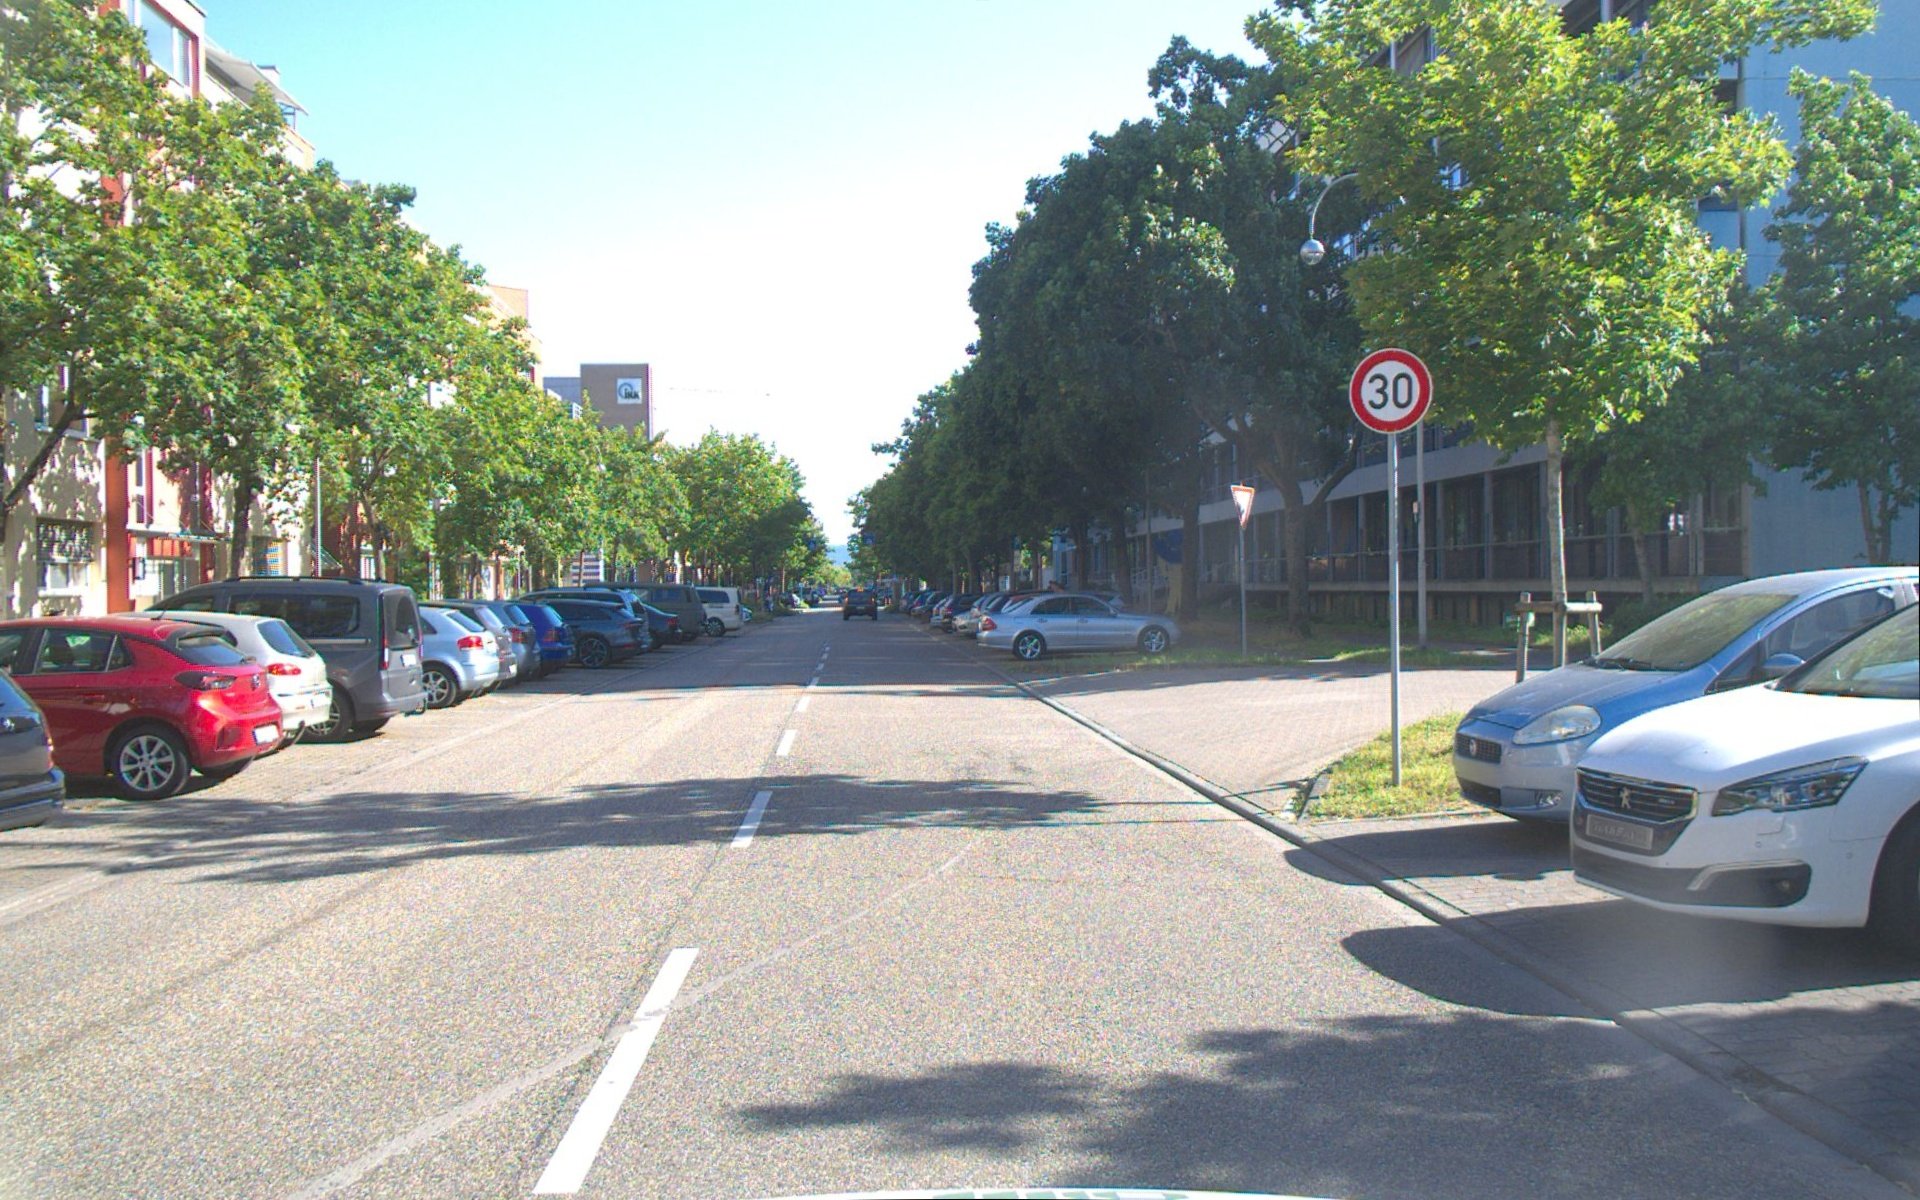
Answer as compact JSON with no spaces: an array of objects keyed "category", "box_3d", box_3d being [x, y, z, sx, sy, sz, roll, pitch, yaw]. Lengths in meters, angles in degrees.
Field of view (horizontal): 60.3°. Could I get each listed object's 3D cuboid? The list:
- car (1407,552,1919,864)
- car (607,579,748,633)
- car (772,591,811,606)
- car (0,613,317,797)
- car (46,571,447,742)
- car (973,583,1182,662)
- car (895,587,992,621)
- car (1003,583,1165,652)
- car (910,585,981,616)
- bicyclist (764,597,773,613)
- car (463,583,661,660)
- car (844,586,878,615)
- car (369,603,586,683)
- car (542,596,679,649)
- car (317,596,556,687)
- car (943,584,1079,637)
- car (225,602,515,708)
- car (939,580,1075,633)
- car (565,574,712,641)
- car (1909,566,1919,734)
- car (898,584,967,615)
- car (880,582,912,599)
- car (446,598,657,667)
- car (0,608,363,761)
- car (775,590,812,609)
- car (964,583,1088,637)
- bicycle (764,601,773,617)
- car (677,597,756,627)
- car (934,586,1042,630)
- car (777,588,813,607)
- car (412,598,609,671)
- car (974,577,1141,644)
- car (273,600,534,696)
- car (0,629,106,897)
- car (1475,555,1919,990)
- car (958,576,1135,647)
[{"category":"car","box_3d":[4.964,0.547,10.155,3.876,1.541,1.698,-4,0,-10]},{"category":"car","box_3d":[-10.864,0.234,63.924,5.154,2.001,1.941,0,0,-4]},{"category":"car","box_3d":[-17.031,-0.136,166.743,3.778,1.499,1.808,0,0,-10]},{"category":"car","box_3d":[-7.771,0.856,14.195,3.815,1.448,1.738,0,0,-4]},{"category":"car","box_3d":[-8.070,0.619,18.993,3.815,1.843,1.784,0,0,-4]},{"category":"car","box_3d":[2.625,0.499,37.622,4.487,1.501,1.746,-3,0,-3]},{"category":"car","box_3d":[-0.877,0.205,84.665,4.732,1.444,2.029,-3,0,-6]},{"category":"car","box_3d":[2.995,0.414,40.592,3.759,1.472,1.922,-3,0,0]},{"category":"car","box_3d":[-0.829,0.020,93.056,3.871,1.541,1.812,-3,0,-3]},{"category":"bicyclist","box_3d":[-13.705,0.359,118.291,0.521,1.110,0.794,-1,0,-1]},{"category":"car","box_3d":[-9.391,0.495,39.307,4.234,1.747,1.961,0,0,-3]},{"category":"car","box_3d":[-5.799,0.030,96.994,1.954,1.668,3.997,0,0,-4]},{"category":"car","box_3d":[-9.119,0.800,31.508,3.653,1.452,1.839,0,0,-5]},{"category":"car","box_3d":[-9.775,0.622,46.456,3.658,1.452,1.721,0,0,-10]},{"category":"car","box_3d":[-9.150,0.711,29.164,3.653,1.535,1.858,0,0,-5]},{"category":"car","box_3d":[1.665,0.338,55.044,4.204,1.519,2.001,-3,0,-7]},{"category":"car","box_3d":[-8.551,0.784,24.268,3.655,1.472,1.873,0,0,-8]},{"category":"car","box_3d":[1.617,0.211,57.386,4.501,1.519,1.761,-4,0,-4]},{"category":"car","box_3d":[-10.438,0.238,53.928,4.397,2.126,2.082,0,0,-2]},{"category":"car","box_3d":[5.266,0.520,4.961,3.799,1.541,1.749,-4,0,-3]},{"category":"car","box_3d":[-1.810,-0.031,107.304,4.268,1.733,1.810,-3,0,-7]},{"category":"car","box_3d":[-8.243,-1.254,211.715,3.910,2.049,1.998,-2,0,-6]},{"category":"car","box_3d":[-8.993,0.704,36.681,4.317,1.452,1.770,0,0,-6]},{"category":"car","box_3d":[-8.314,0.833,16.893,3.815,1.448,1.738,0,0,-4]},{"category":"car","box_3d":[-18.901,-0.091,188.140,3.905,2.049,2.000,-2,0,0]},{"category":"car","box_3d":[2.076,0.304,52.646,3.673,1.519,1.614,-3,0,-8]},{"category":"bicycle","box_3d":[-13.698,0.657,118.301,0.521,1.091,1.299,-1,0,-1]},{"category":"car","box_3d":[-12.676,0.631,86.278,3.909,1.512,1.805,0,0,-5]},{"category":"car","box_3d":[1.030,0.288,62.889,3.893,1.444,1.708,-3,0,-6]},{"category":"car","box_3d":[-19.064,-0.264,191.201,3.905,2.049,2.000,-2,0,0]},{"category":"car","box_3d":[-9.257,0.701,34.306,3.653,1.452,1.771,0,0,-5]},{"category":"car","box_3d":[2.649,0.281,45.299,4.421,1.569,1.922,-3,0,2]},{"category":"car","box_3d":[-8.869,0.755,26.610,3.655,1.472,1.857,0,0,-8]},{"category":"car","box_3d":[-7.374,0.896,9.331,4.175,1.448,1.739,0,0,0]},{"category":"car","box_3d":[4.912,0.539,7.486,4.467,1.541,1.977,-4,0,-10]},{"category":"car","box_3d":[2.210,0.281,42.917,4.423,1.569,1.922,-3,0,0]}]
